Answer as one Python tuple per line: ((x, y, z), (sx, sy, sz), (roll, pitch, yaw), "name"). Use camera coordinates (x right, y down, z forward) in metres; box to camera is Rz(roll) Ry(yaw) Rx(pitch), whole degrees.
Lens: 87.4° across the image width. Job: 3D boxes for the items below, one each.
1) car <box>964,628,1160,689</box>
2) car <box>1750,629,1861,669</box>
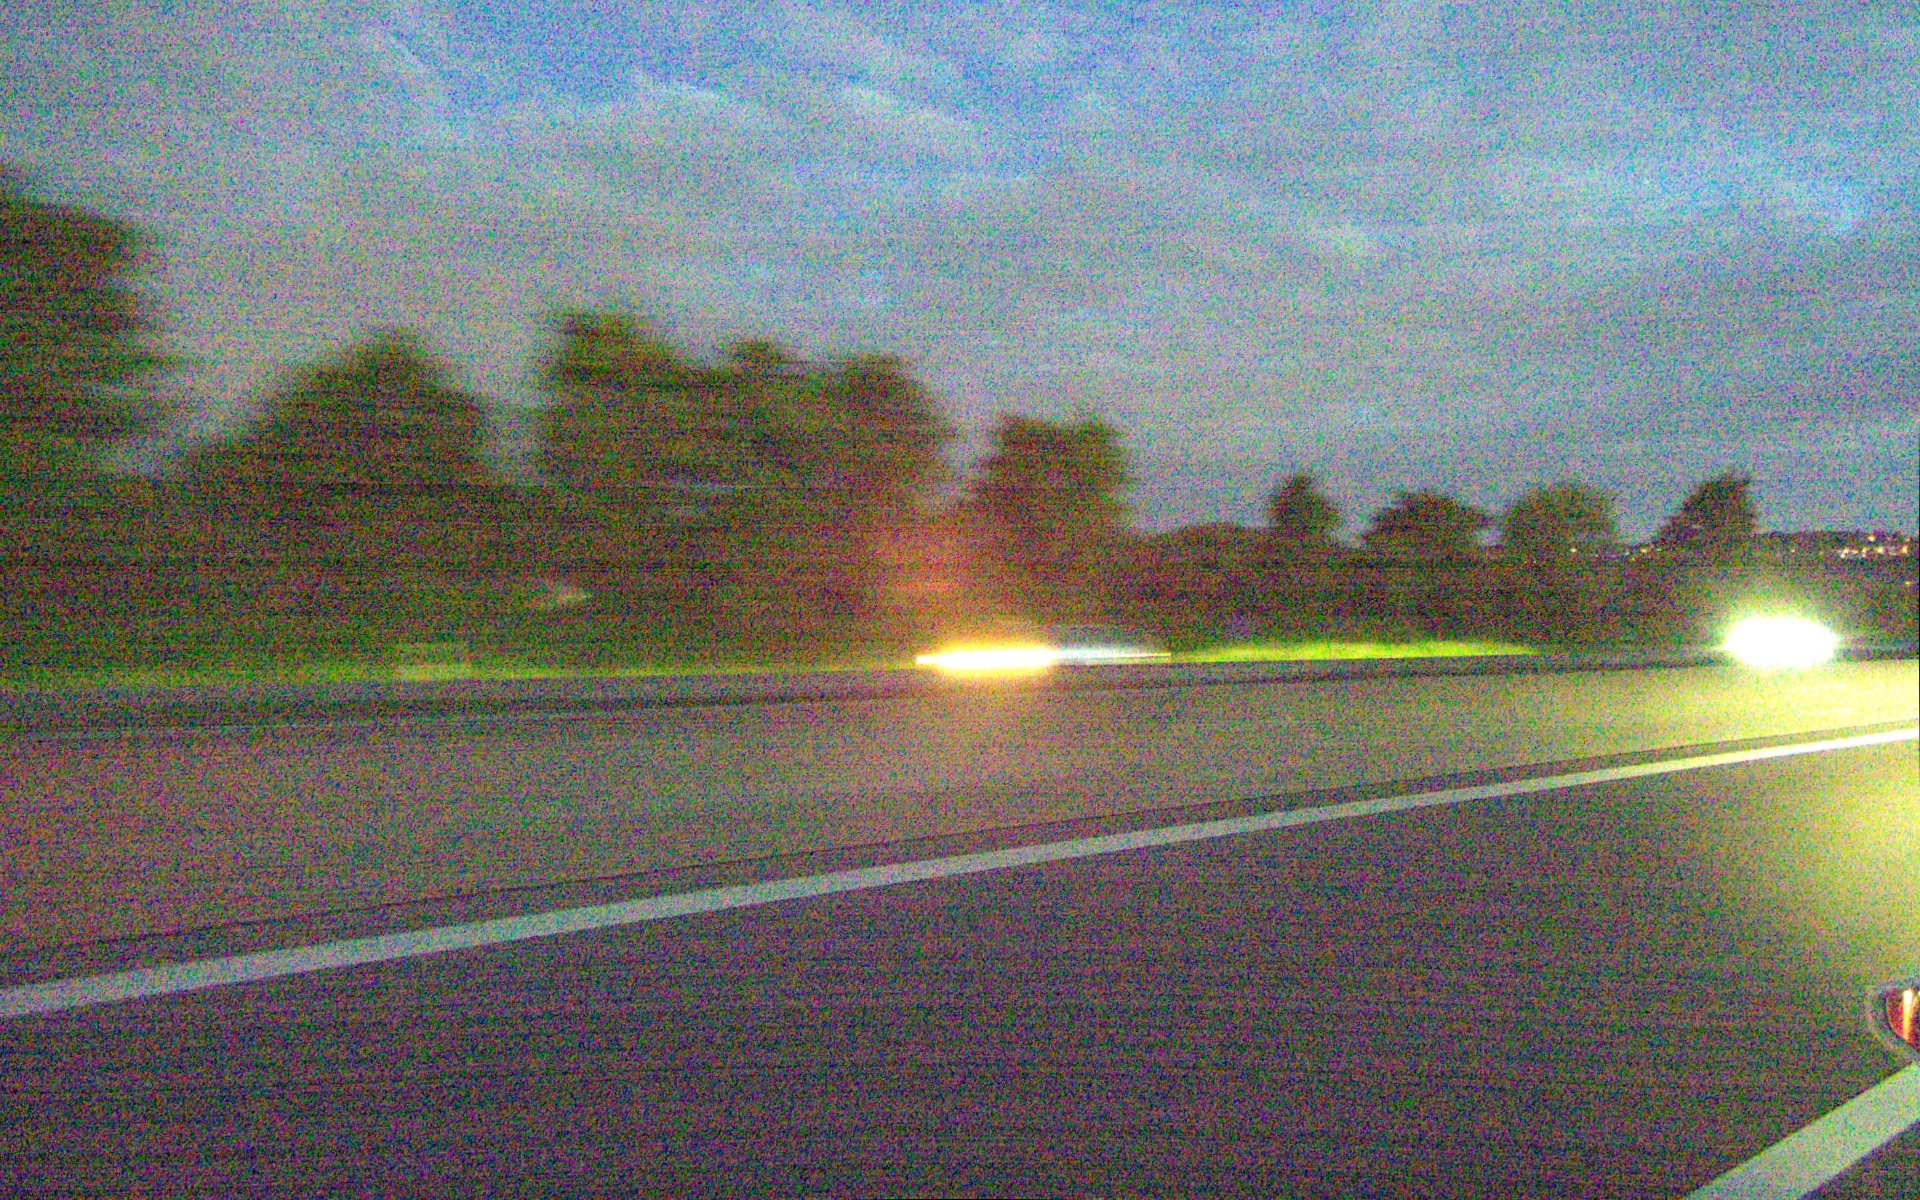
((2.422, 1.316, 23.603), (4.298, 1.299, 1.894), (1, -1, -30), "car")
((35.623, 2.024, 42.287), (5.123, 1.558, 1.955), (1, -1, -30), "car")
